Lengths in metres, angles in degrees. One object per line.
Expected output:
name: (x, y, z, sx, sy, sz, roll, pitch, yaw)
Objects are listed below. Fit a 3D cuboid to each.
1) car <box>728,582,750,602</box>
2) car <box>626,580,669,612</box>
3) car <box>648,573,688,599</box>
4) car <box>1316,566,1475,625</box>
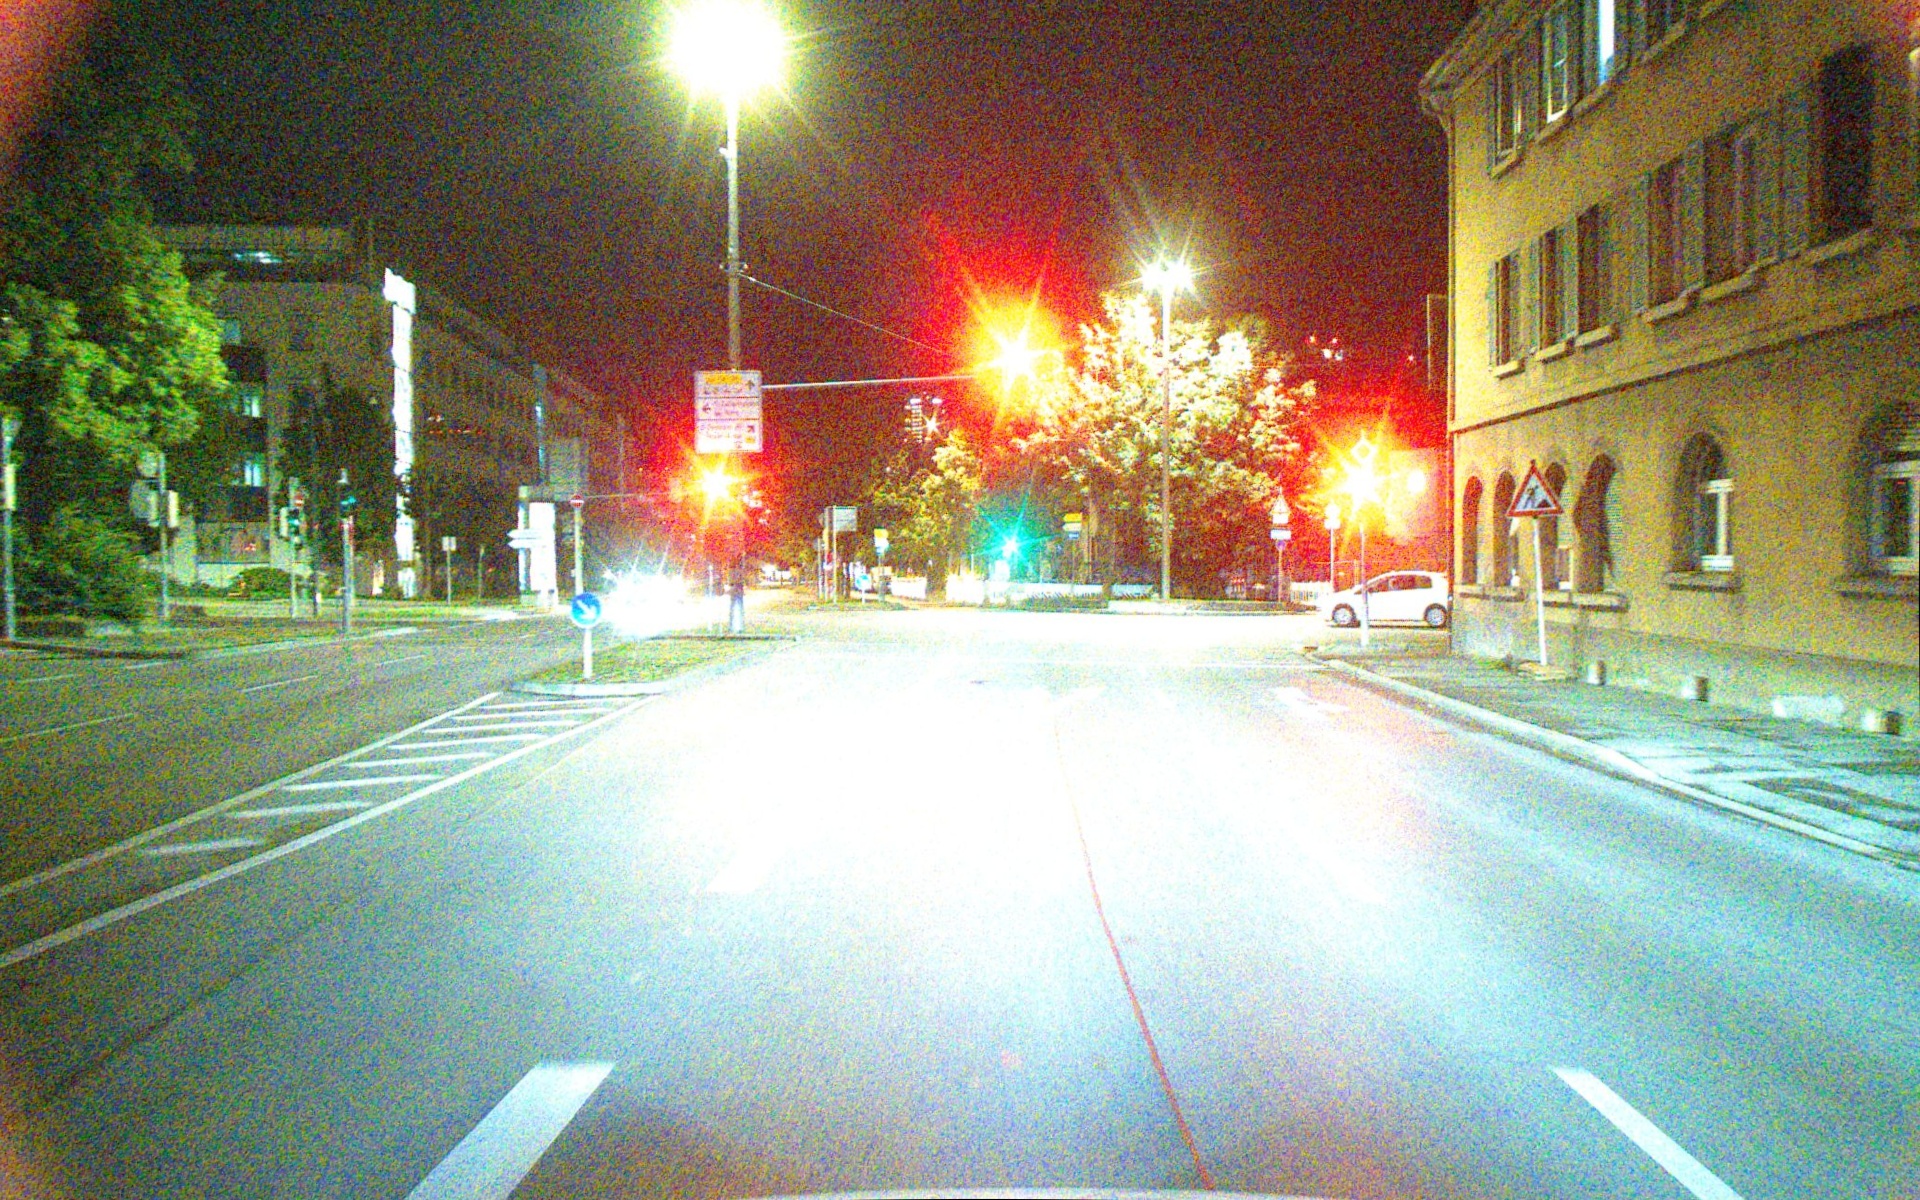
car: (-20.087, -0.714, 150.340, 1.723, 1.758, 3.545, 0, 0, -4)
car: (-15.285, -0.191, 81.033, 1.583, 1.541, 3.997, 0, 0, -4)
car: (-15.590, -0.738, 88.333, 1.723, 1.345, 3.545, 0, 0, -4)
car: (11.795, -0.126, 44.823, 3.910, 1.517, 1.706, 0, 0, 28)
